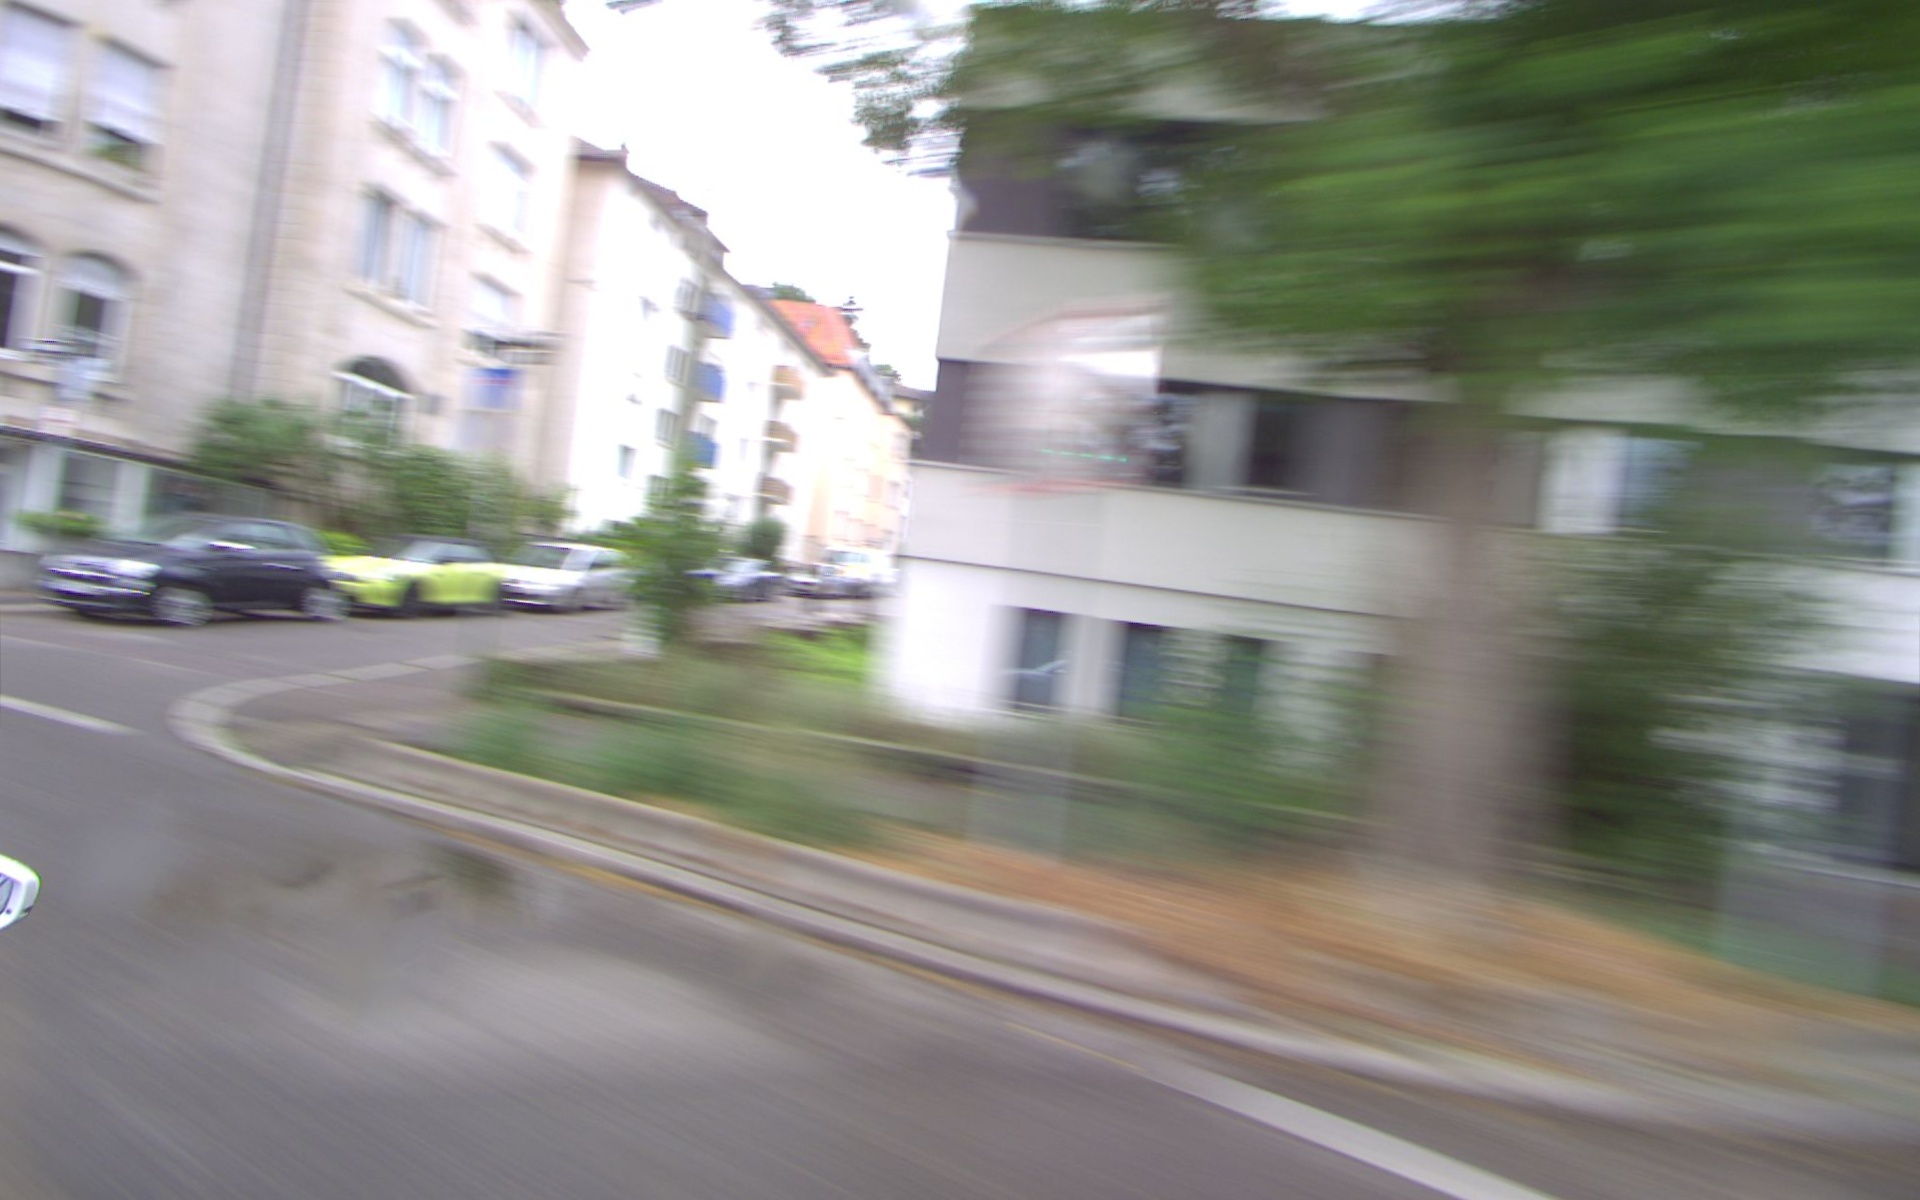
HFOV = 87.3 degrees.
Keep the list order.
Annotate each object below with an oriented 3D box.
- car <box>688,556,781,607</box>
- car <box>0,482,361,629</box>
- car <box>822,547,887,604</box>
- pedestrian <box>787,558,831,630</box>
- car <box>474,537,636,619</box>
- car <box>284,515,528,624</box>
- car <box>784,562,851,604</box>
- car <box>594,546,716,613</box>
[{"bbox_3d":[-7.214,-0.548,32.560,1.592,1.340,3.955,5,0,8],"label":"car"},{"bbox_3d":[-10.401,-0.516,13.695,1.704,1.527,3.670,8,1,12],"label":"car"},{"bbox_3d":[-4.852,-1.077,46.871,1.795,2.302,4.638,5,0,8],"label":"car"},{"bbox_3d":[-3.760,-0.142,25.103,0.637,1.699,0.704,10,1,8],"label":"pedestrian"},{"bbox_3d":[-8.861,-0.493,22.340,1.592,1.528,3.771,5,2,8],"label":"car"},{"bbox_3d":[-9.705,-0.480,17.981,1.704,1.527,3.670,8,1,12],"label":"car"},{"bbox_3d":[-5.859,-0.655,41.801,1.592,1.470,3.955,5,0,8],"label":"car"},{"bbox_3d":[-8.175,-0.490,27.326,1.592,1.527,3.898,5,0,8],"label":"car"}]
